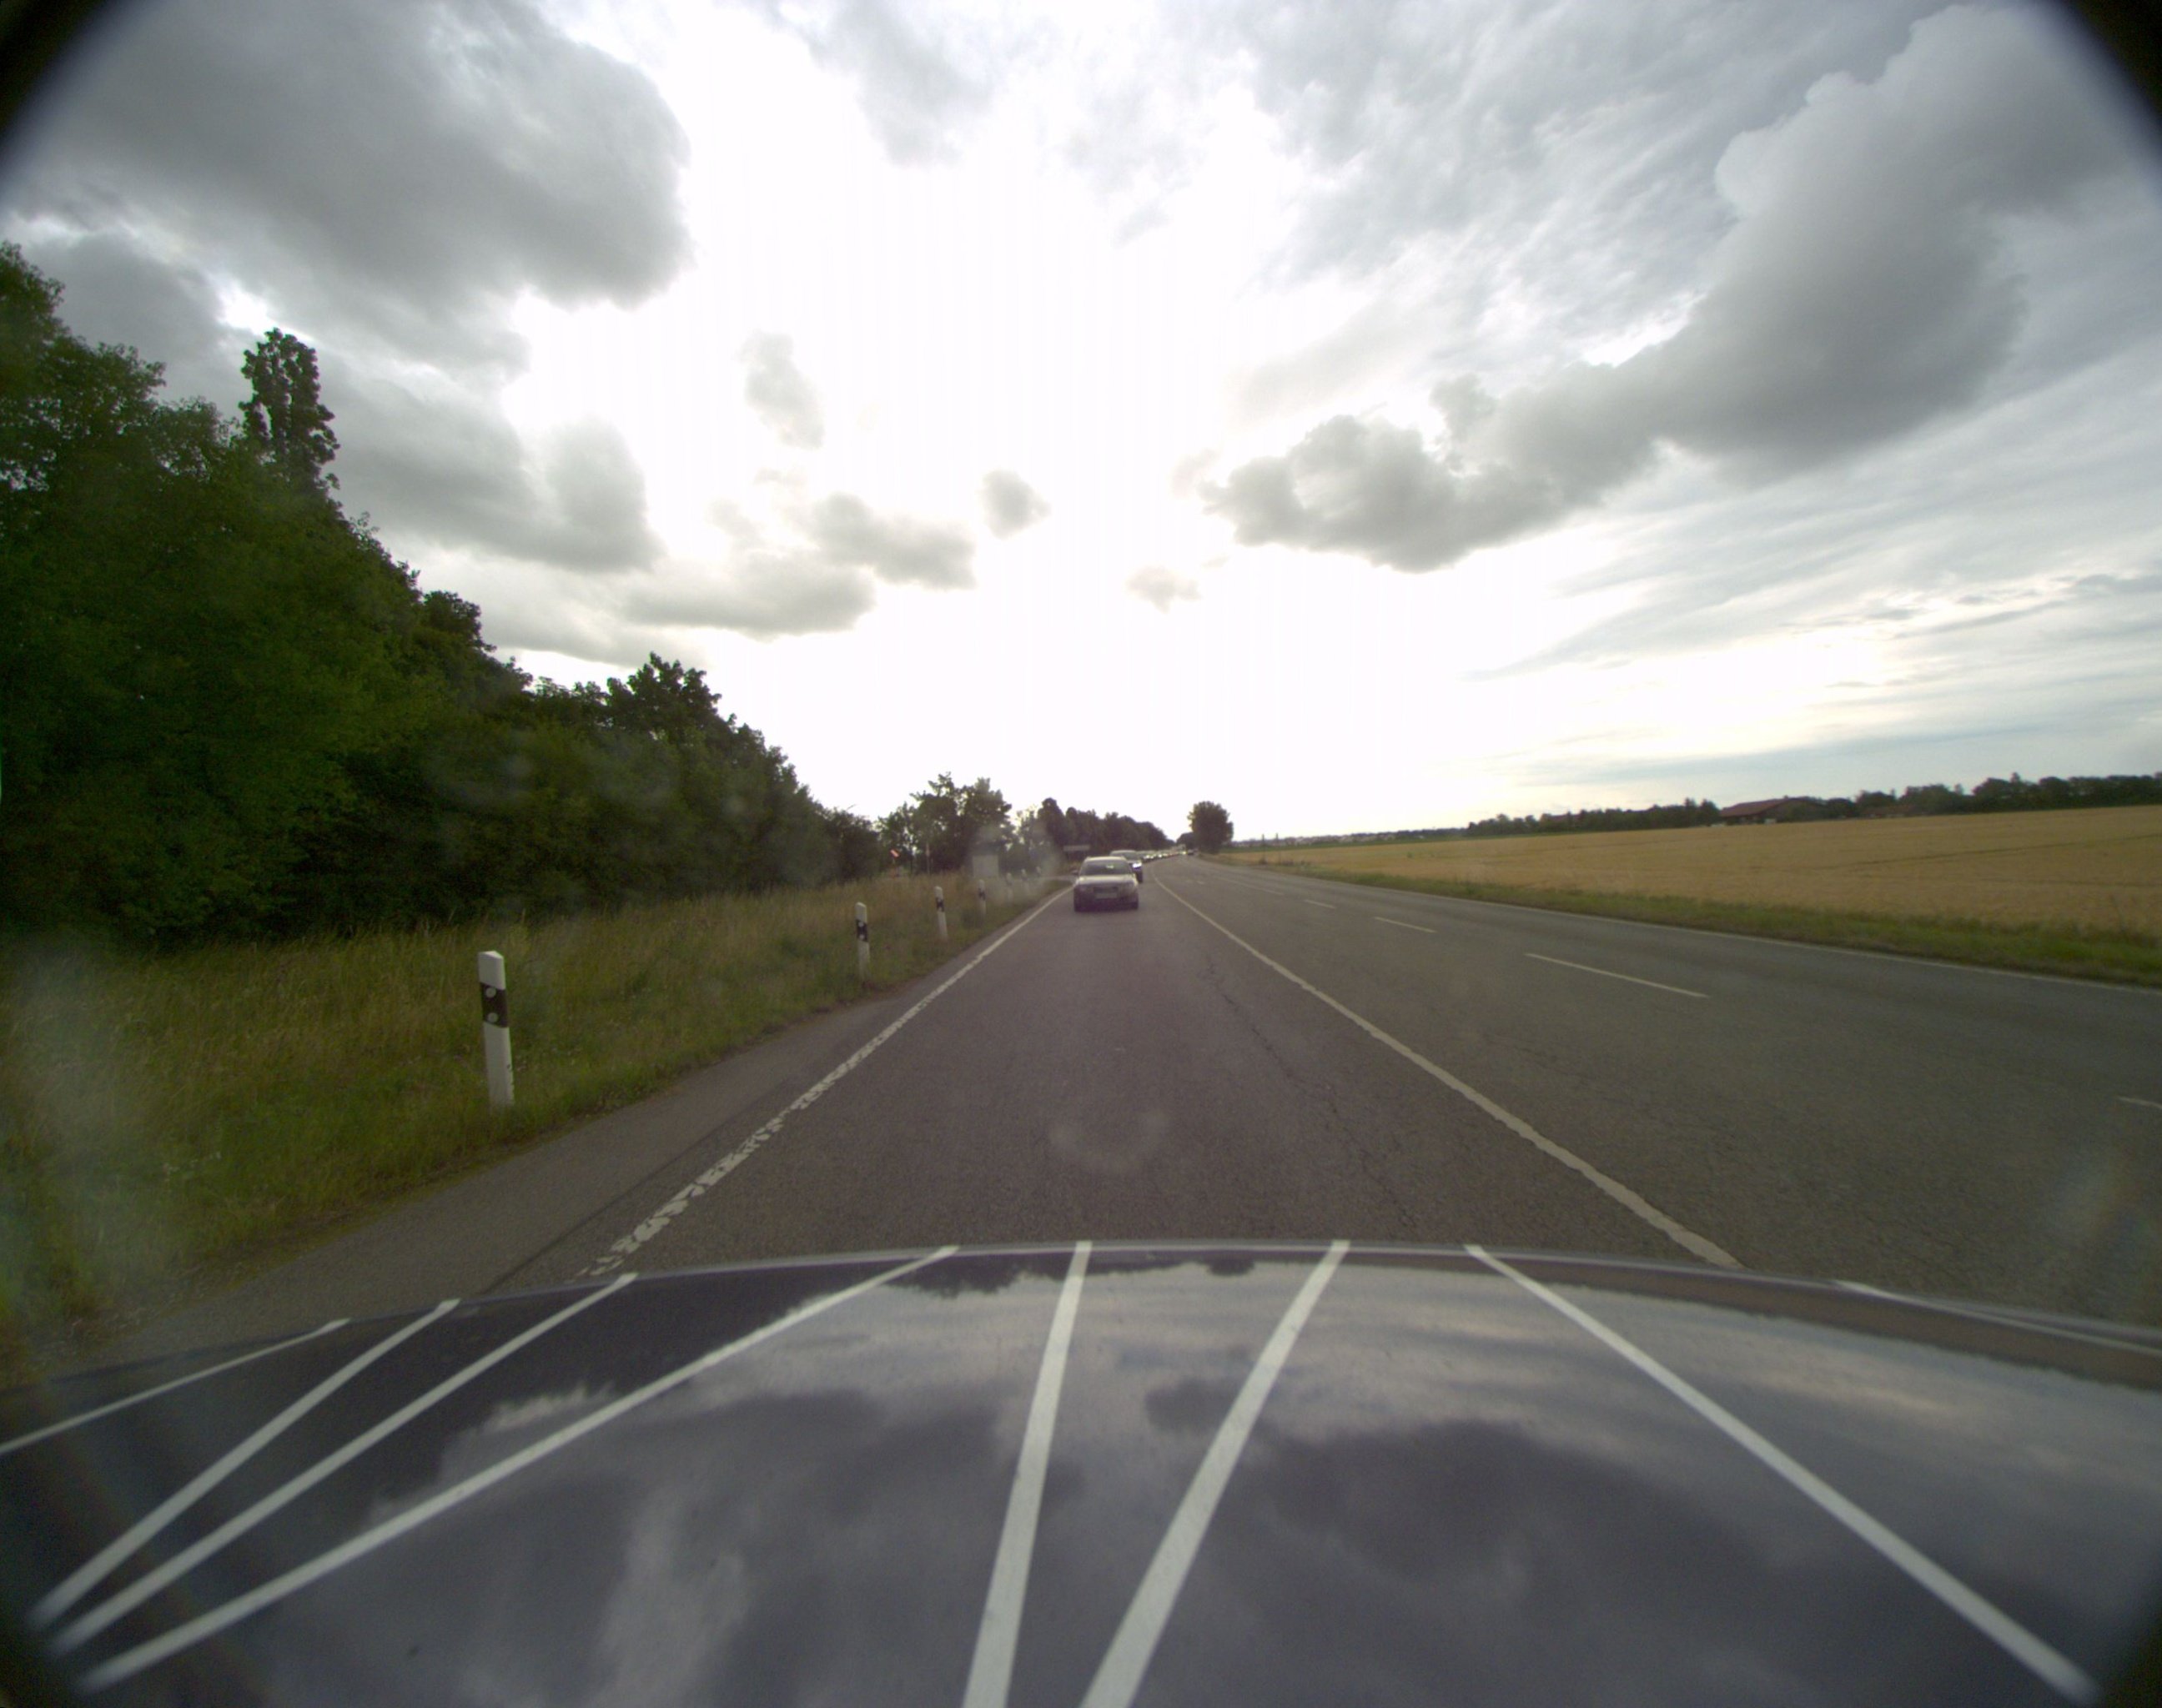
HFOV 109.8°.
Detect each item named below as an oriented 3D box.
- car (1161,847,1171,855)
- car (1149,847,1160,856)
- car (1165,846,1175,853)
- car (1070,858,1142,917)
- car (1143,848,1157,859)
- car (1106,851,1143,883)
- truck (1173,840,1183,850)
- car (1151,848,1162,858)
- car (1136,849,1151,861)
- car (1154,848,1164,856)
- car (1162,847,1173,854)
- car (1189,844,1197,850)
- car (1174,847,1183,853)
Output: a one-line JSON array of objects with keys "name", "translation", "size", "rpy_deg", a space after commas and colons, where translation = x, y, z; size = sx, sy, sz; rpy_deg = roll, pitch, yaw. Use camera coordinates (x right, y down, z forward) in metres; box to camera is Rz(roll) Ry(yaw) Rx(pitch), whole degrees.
[{"name": "car", "translation": [18.222, -0.703, 163.151], "size": [1.792, 1.573, 4.140], "rpy_deg": [-2, 0, 12]}, {"name": "car", "translation": [13.404, -0.425, 138.377], "size": [1.792, 1.573, 4.139], "rpy_deg": [-2, 0, 9]}, {"name": "car", "translation": [21.147, -0.965, 179.863], "size": [1.792, 1.573, 4.140], "rpy_deg": [-2, 0, 13]}, {"name": "car", "translation": [0.750, 0.864, 21.658], "size": [1.793, 1.415, 4.368], "rpy_deg": [-2, 0, 3]}, {"name": "car", "translation": [10.171, -0.059, 111.633], "size": [1.793, 1.573, 4.189], "rpy_deg": [-2, 0, 7]}, {"name": "car", "translation": [2.296, 0.637, 40.020], "size": [1.793, 1.573, 4.368], "rpy_deg": [-2, 0, 3]}, {"name": "truck", "translation": [29.640, -2.821, 231.021], "size": [2.318, 2.749, 7.679], "rpy_deg": [-3, 0, 12]}, {"name": "car", "translation": [12.674, -0.233, 127.362], "size": [1.793, 1.573, 4.189], "rpy_deg": [-2, 0, 7]}, {"name": "car", "translation": [8.378, 0.115, 101.579], "size": [1.793, 1.573, 4.369], "rpy_deg": [-2, 0, 7]}, {"name": "car", "translation": [15.461, -0.470, 150.990], "size": [1.792, 1.573, 4.139], "rpy_deg": [-2, 0, 9]}, {"name": "car", "translation": [19.309, -0.782, 169.859], "size": [1.953, 1.573, 4.140], "rpy_deg": [-2, 0, 13]}, {"name": "car", "translation": [30.067, -1.889, 204.262], "size": [1.829, 1.402, 4.427], "rpy_deg": [-2, 1, 13]}, {"name": "car", "translation": [26.370, -1.142, 206.001], "size": [1.792, 1.531, 4.141], "rpy_deg": [-2, 0, 14]}]
